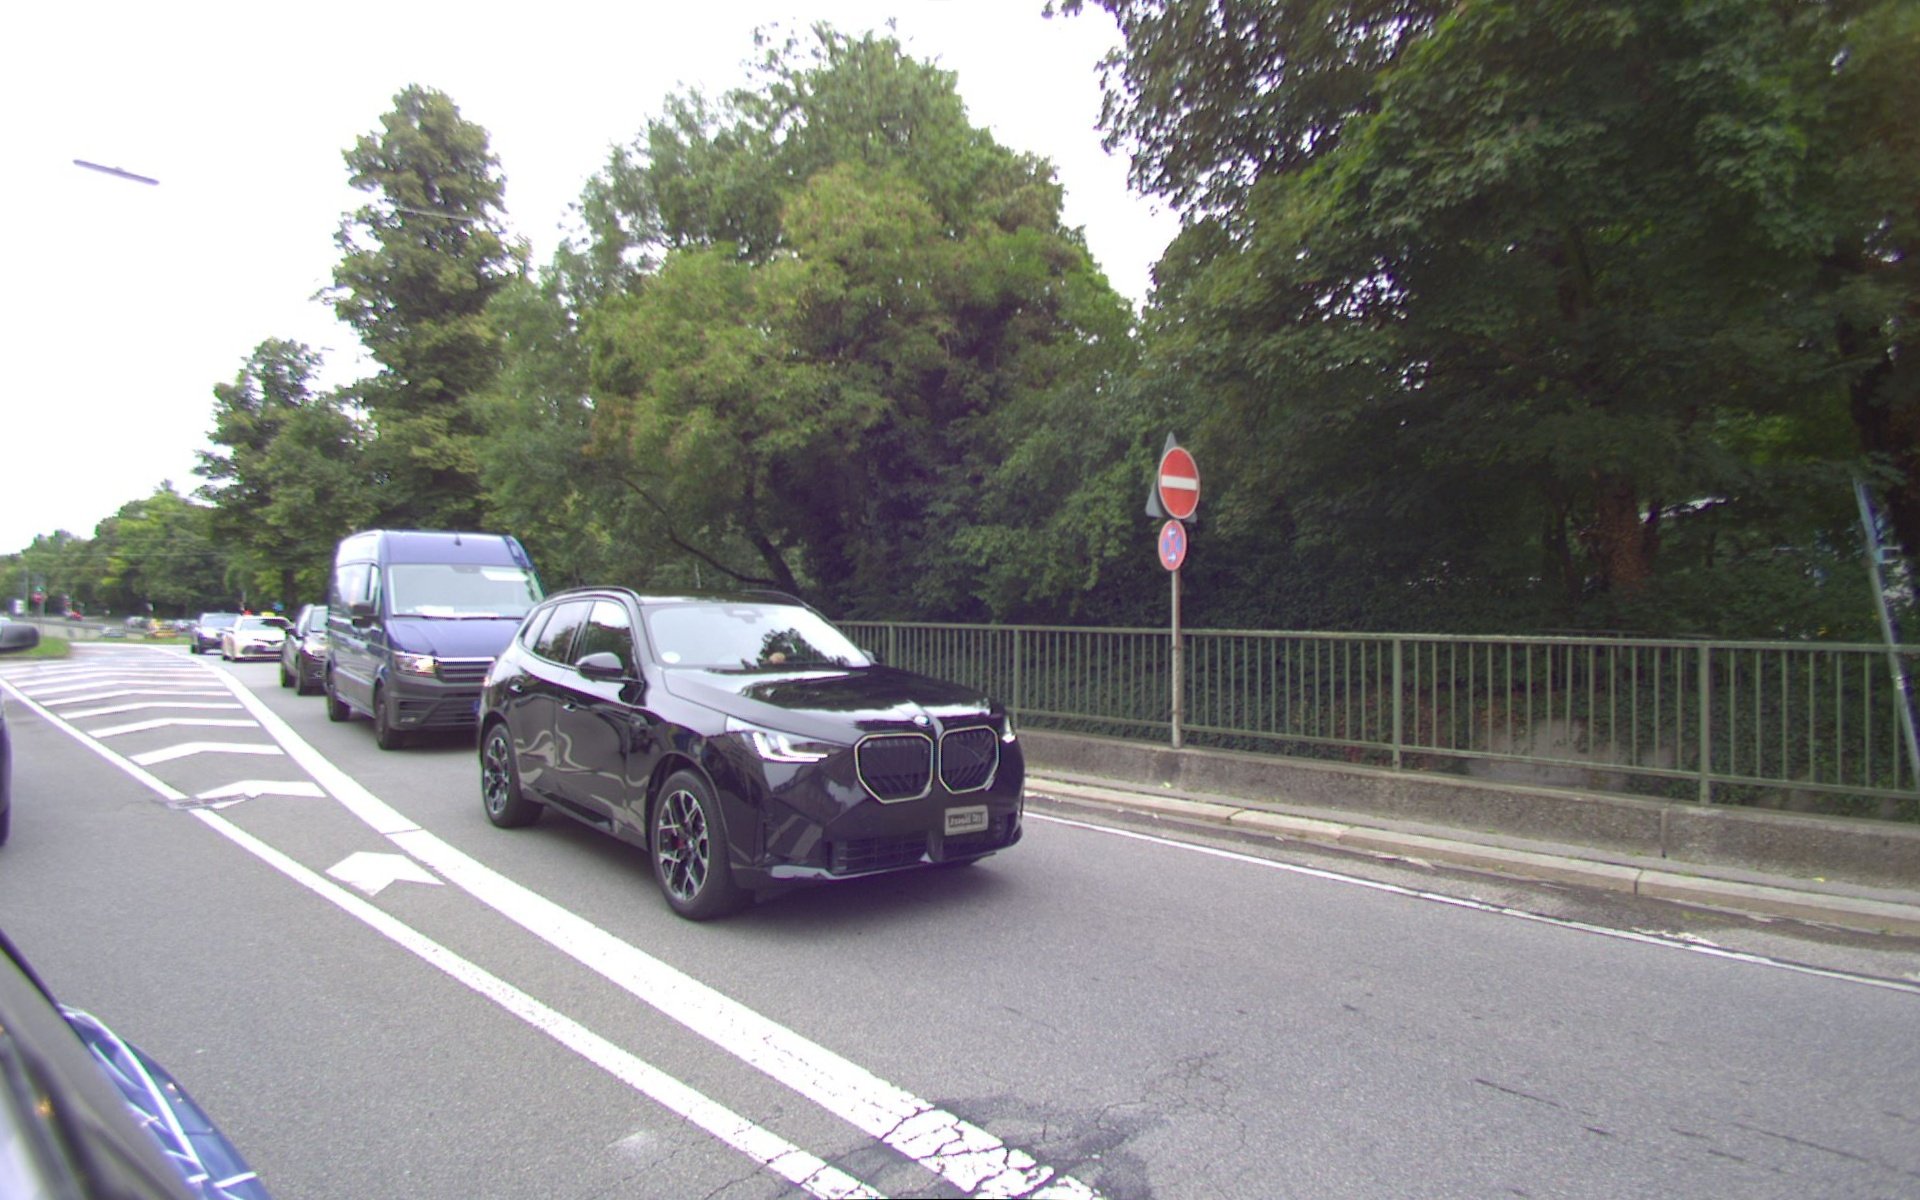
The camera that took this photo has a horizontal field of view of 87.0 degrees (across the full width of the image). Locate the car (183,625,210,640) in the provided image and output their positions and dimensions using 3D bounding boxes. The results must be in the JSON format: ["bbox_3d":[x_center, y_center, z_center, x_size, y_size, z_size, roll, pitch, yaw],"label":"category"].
[{"bbox_3d":[-91.440,3.845,121.156,3.998,1.759,1.842,-1,-2,41],"label":"car"}]

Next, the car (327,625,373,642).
[{"bbox_3d":[-53.589,2.926,88.895,4.519,1.457,1.974,-1,-3,38],"label":"car"}]

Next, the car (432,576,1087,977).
[{"bbox_3d":[-1.653,0.726,6.478,1.890,1.598,4.836,1,-1,-42],"label":"car"}]

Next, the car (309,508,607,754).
[{"bbox_3d":[-6.757,0.338,13.165,2.156,2.482,5.862,1,-1,-40],"label":"car"}]

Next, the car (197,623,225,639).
[{"bbox_3d":[-86.219,3.586,116.470,3.998,1.759,1.860,-1,-2,41],"label":"car"}]

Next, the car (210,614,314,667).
[{"bbox_3d":[-22.314,1.250,32.278,1.964,1.577,4.658,2,-2,-44],"label":"car"}]

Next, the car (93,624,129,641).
[{"bbox_3d":[-89.424,3.421,106.591,4.519,1.765,1.975,-1,-1,38],"label":"car"}]

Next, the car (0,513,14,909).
[{"bbox_3d":[-7.657,0.609,6.590,4.553,2.227,1.832,0,-1,43],"label":"car"}]

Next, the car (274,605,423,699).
[{"bbox_3d":[-12.078,0.959,19.858,1.961,1.640,4.281,1,-2,-38],"label":"car"}]

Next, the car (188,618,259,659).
[{"bbox_3d":[-30.010,1.528,41.188,1.963,1.577,4.279,2,-2,-41],"label":"car"}]

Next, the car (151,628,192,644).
[{"bbox_3d":[-73.319,3.374,94.103,4.519,1.457,1.974,-1,-3,38],"label":"car"}]
